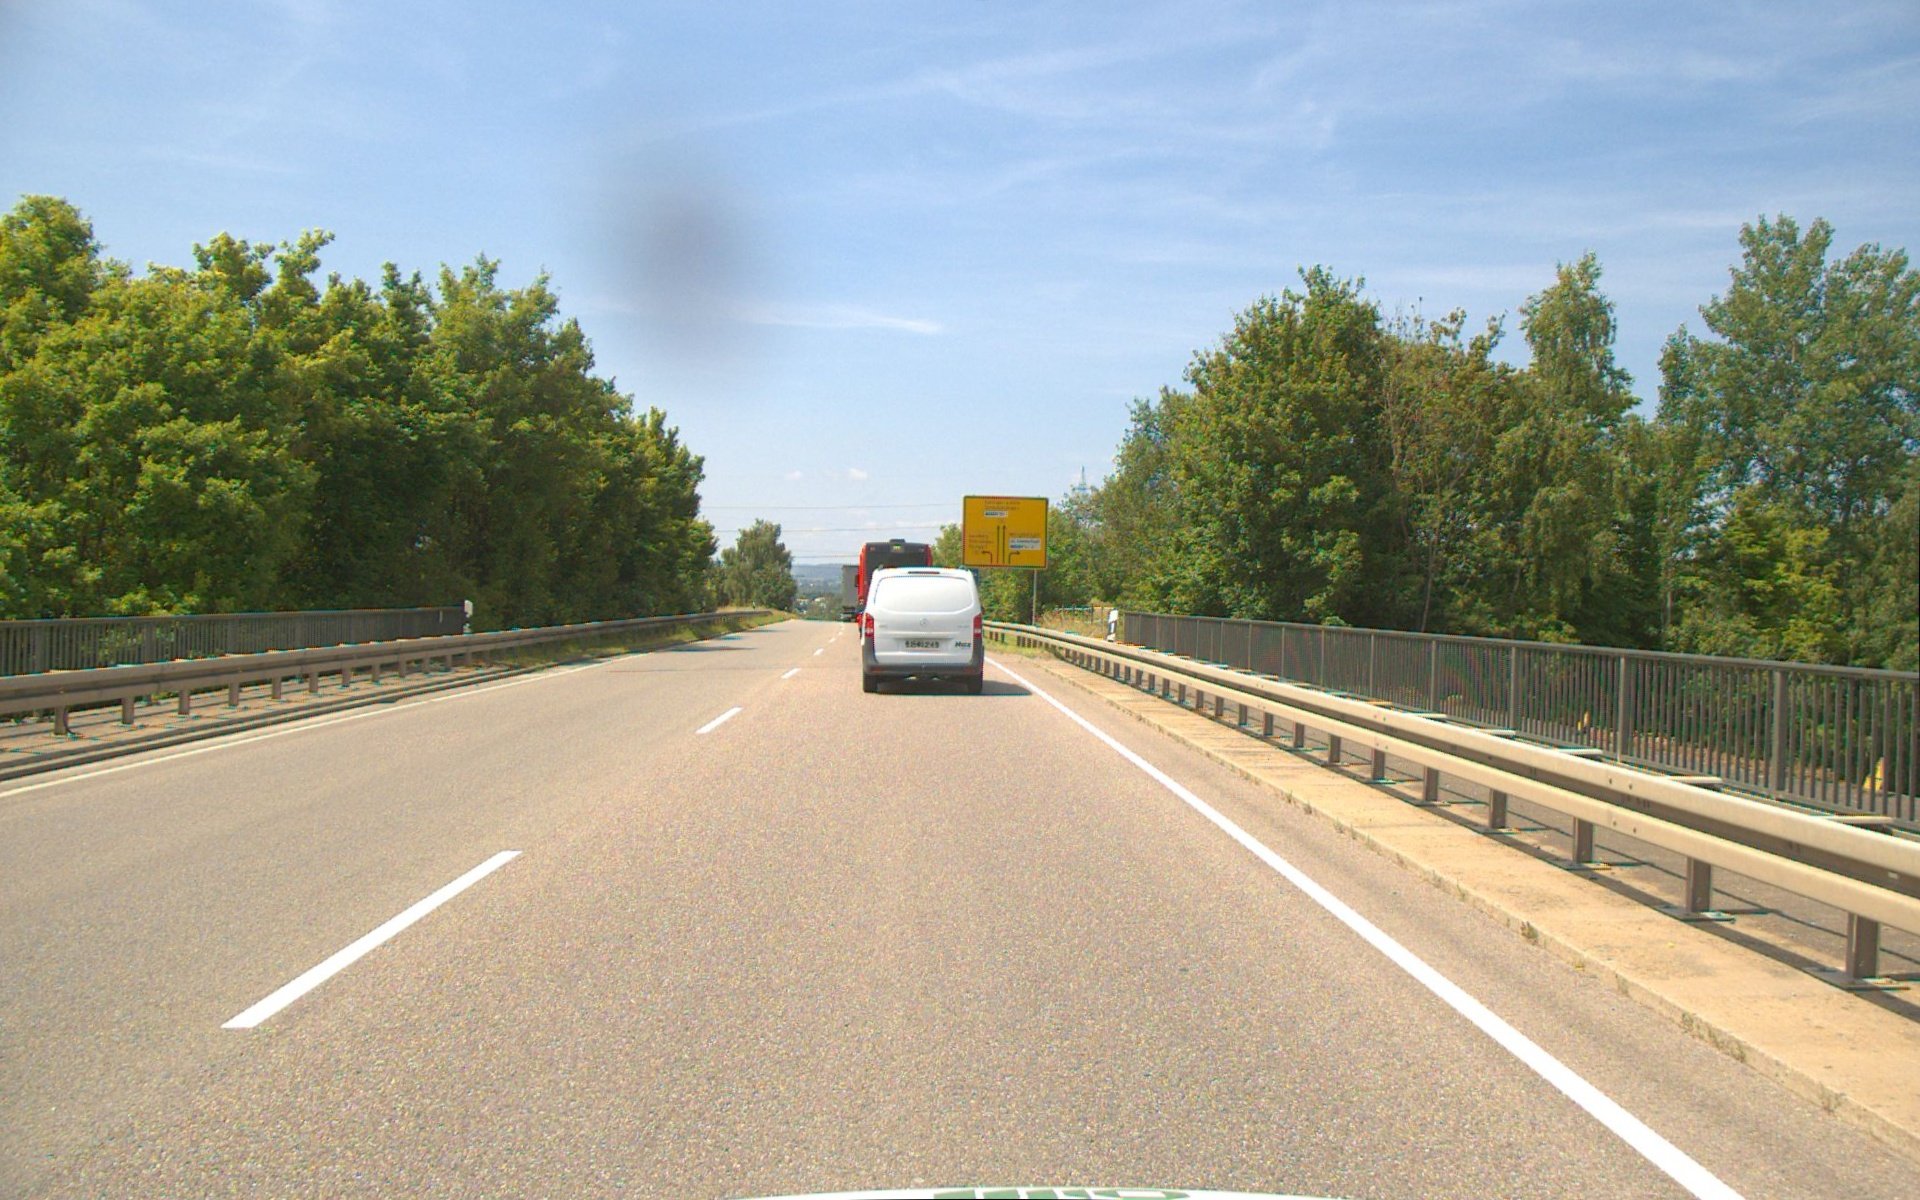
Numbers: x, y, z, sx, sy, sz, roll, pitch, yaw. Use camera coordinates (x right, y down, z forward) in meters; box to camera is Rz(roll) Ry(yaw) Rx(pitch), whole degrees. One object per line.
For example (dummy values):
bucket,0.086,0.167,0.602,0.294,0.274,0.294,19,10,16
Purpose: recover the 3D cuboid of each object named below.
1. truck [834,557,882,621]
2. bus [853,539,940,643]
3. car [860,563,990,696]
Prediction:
truck,-7.688,-0.864,125.336,3.419,4.500,14.892,0,1,-3
bus,-2.509,-0.362,61.056,2.693,3.412,13.209,0,0,-4
car,-0.608,0.412,26.347,1.885,1.922,3.998,1,1,-3
